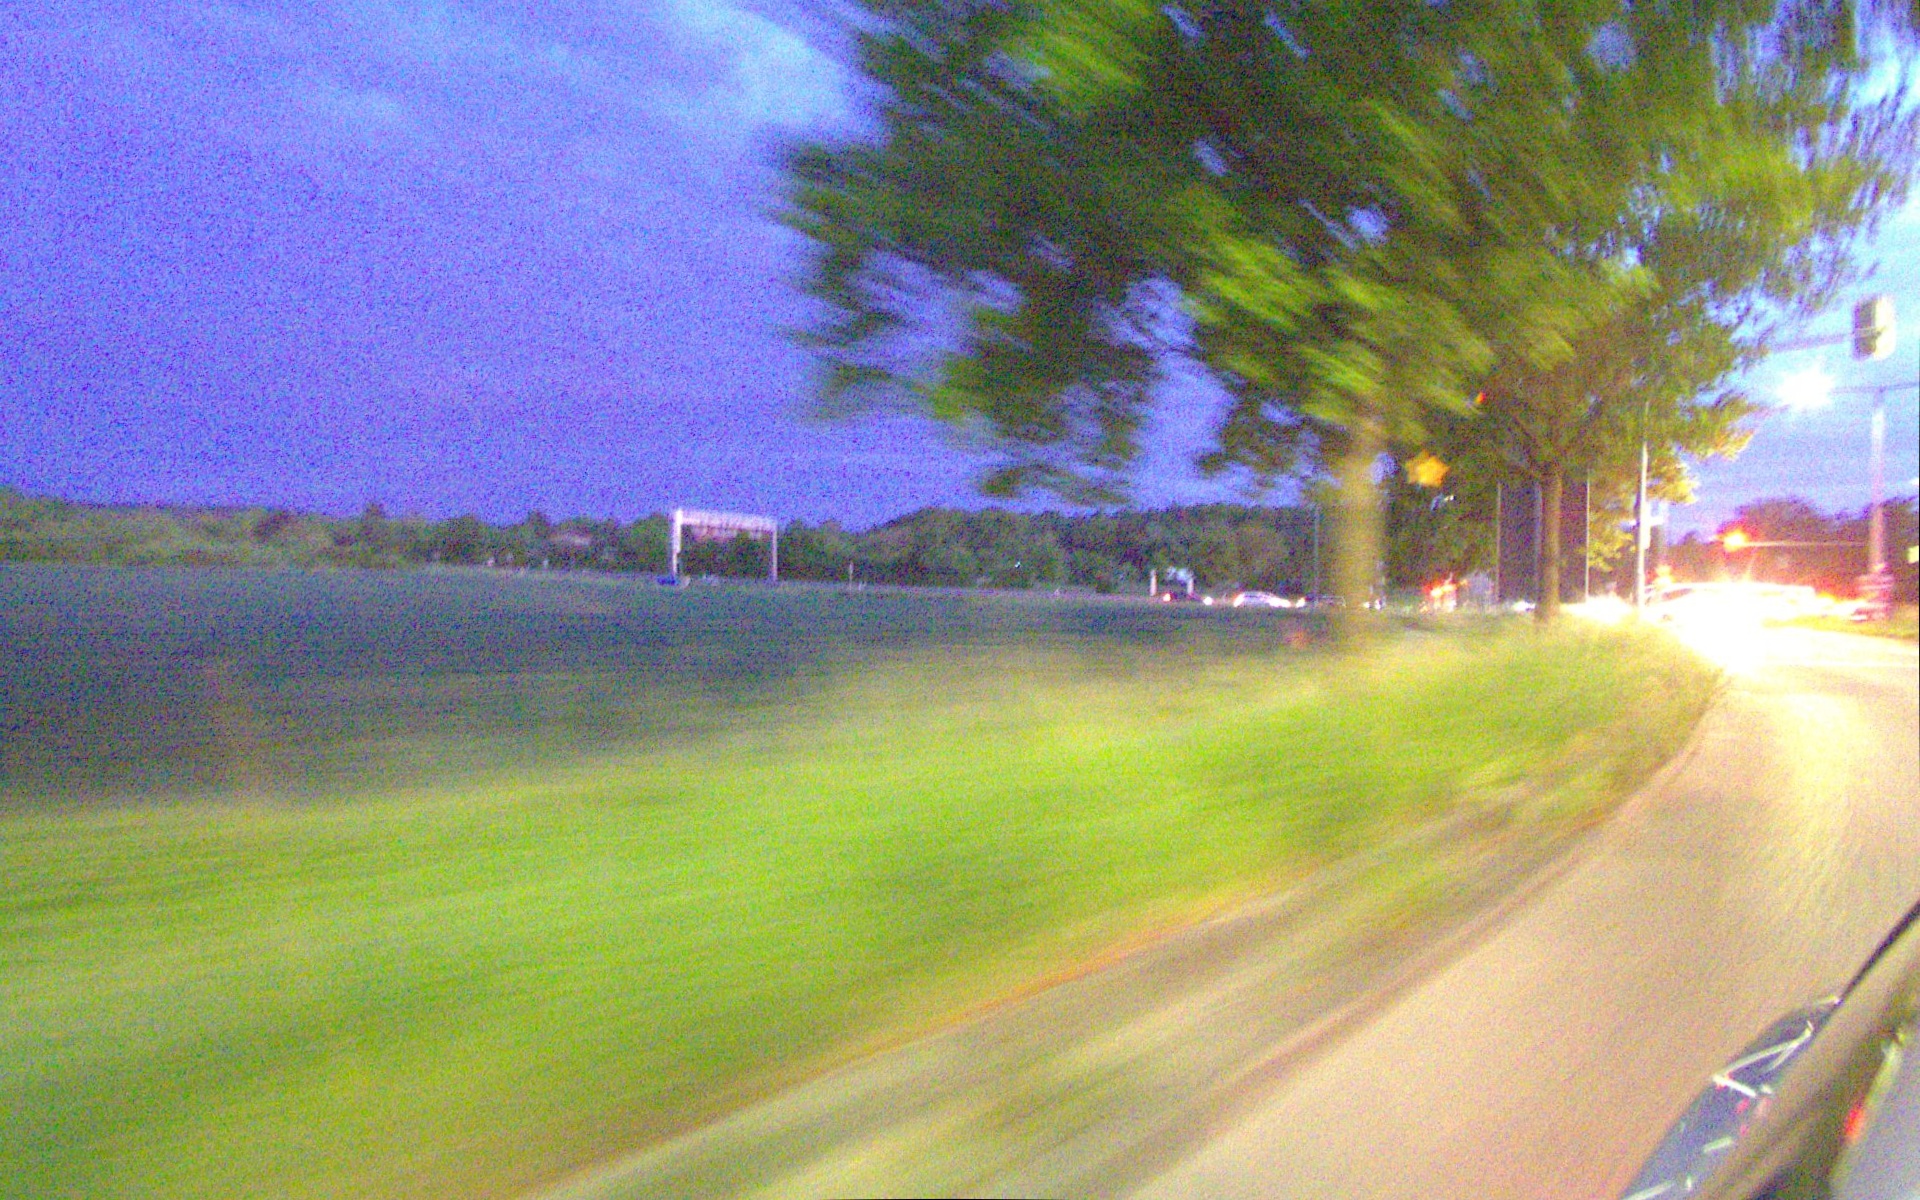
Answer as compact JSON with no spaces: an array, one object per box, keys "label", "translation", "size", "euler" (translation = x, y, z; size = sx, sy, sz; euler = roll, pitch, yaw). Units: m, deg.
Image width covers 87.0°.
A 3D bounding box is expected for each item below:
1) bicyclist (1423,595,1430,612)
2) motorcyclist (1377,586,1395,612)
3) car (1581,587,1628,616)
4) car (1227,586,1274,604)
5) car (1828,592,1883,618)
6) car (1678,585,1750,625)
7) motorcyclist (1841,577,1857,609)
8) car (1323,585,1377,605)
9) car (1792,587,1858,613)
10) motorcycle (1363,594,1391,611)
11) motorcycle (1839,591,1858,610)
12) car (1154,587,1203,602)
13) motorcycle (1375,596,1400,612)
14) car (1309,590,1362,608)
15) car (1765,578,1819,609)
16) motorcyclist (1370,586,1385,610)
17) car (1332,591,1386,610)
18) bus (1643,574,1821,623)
[{"label":"bicyclist","translation":[45.779,0.323,99.258],"size":[0.597,1.672,0.991],"euler":[1,-1,25]},{"label":"motorcyclist","translation":[31.966,-0.076,75.936],"size":[0.854,1.830,0.917],"euler":[-3,2,1]},{"label":"car","translation":[35.166,0.067,55.300],"size":[1.654,1.499,3.744],"euler":[0,1,25]},{"label":"car","translation":[27.530,-0.502,95.973],"size":[3.968,1.544,1.817],"euler":[2,0,31]},{"label":"car","translation":[54.556,0.314,61.707],"size":[1.760,1.466,3.740],"euler":[1,0,29]},{"label":"car","translation":[33.461,0.200,45.027],"size":[1.654,1.674,4.373],"euler":[1,1,25]},{"label":"motorcyclist","translation":[56.825,-0.459,64.680],"size":[0.632,2.039,0.758],"euler":[1,-1,34]},{"label":"car","translation":[36.420,-0.461,94.583],"size":[4.386,1.703,1.892],"euler":[2,-1,32]},{"label":"car","translation":[49.167,0.021,57.633],"size":[1.860,1.415,4.789],"euler":[1,0,28]},{"label":"motorcycle","translation":[31.677,0.188,76.856],"size":[1.785,1.196,0.851],"euler":[-2,2,-5]},{"label":"motorcycle","translation":[56.744,0.048,64.619],"size":[0.668,1.178,1.786],"euler":[1,-1,34]},{"label":"car","translation":[21.444,-0.551,99.170],"size":[4.362,1.407,1.817],"euler":[2,0,31]},{"label":"motorcycle","translation":[32.070,0.305,75.977],"size":[1.548,1.045,0.723],"euler":[-3,2,1]},{"label":"car","translation":[34.113,-0.057,92.000],"size":[4.259,1.464,1.765],"euler":[2,-1,33]},{"label":"car","translation":[52.931,-0.369,64.462],"size":[1.834,1.837,4.724],"euler":[1,-1,29]},{"label":"motorcyclist","translation":[31.704,-0.135,76.839],"size":[0.774,1.780,0.685],"euler":[-2,2,-5]},{"label":"car","translation":[38.449,0.085,97.588],"size":[4.549,1.653,1.837],"euler":[2,0,32]},{"label":"bus","translation":[66.005,-0.167,86.874],"size":[12.090,3.839,2.604],"euler":[1,-2,13]}]
